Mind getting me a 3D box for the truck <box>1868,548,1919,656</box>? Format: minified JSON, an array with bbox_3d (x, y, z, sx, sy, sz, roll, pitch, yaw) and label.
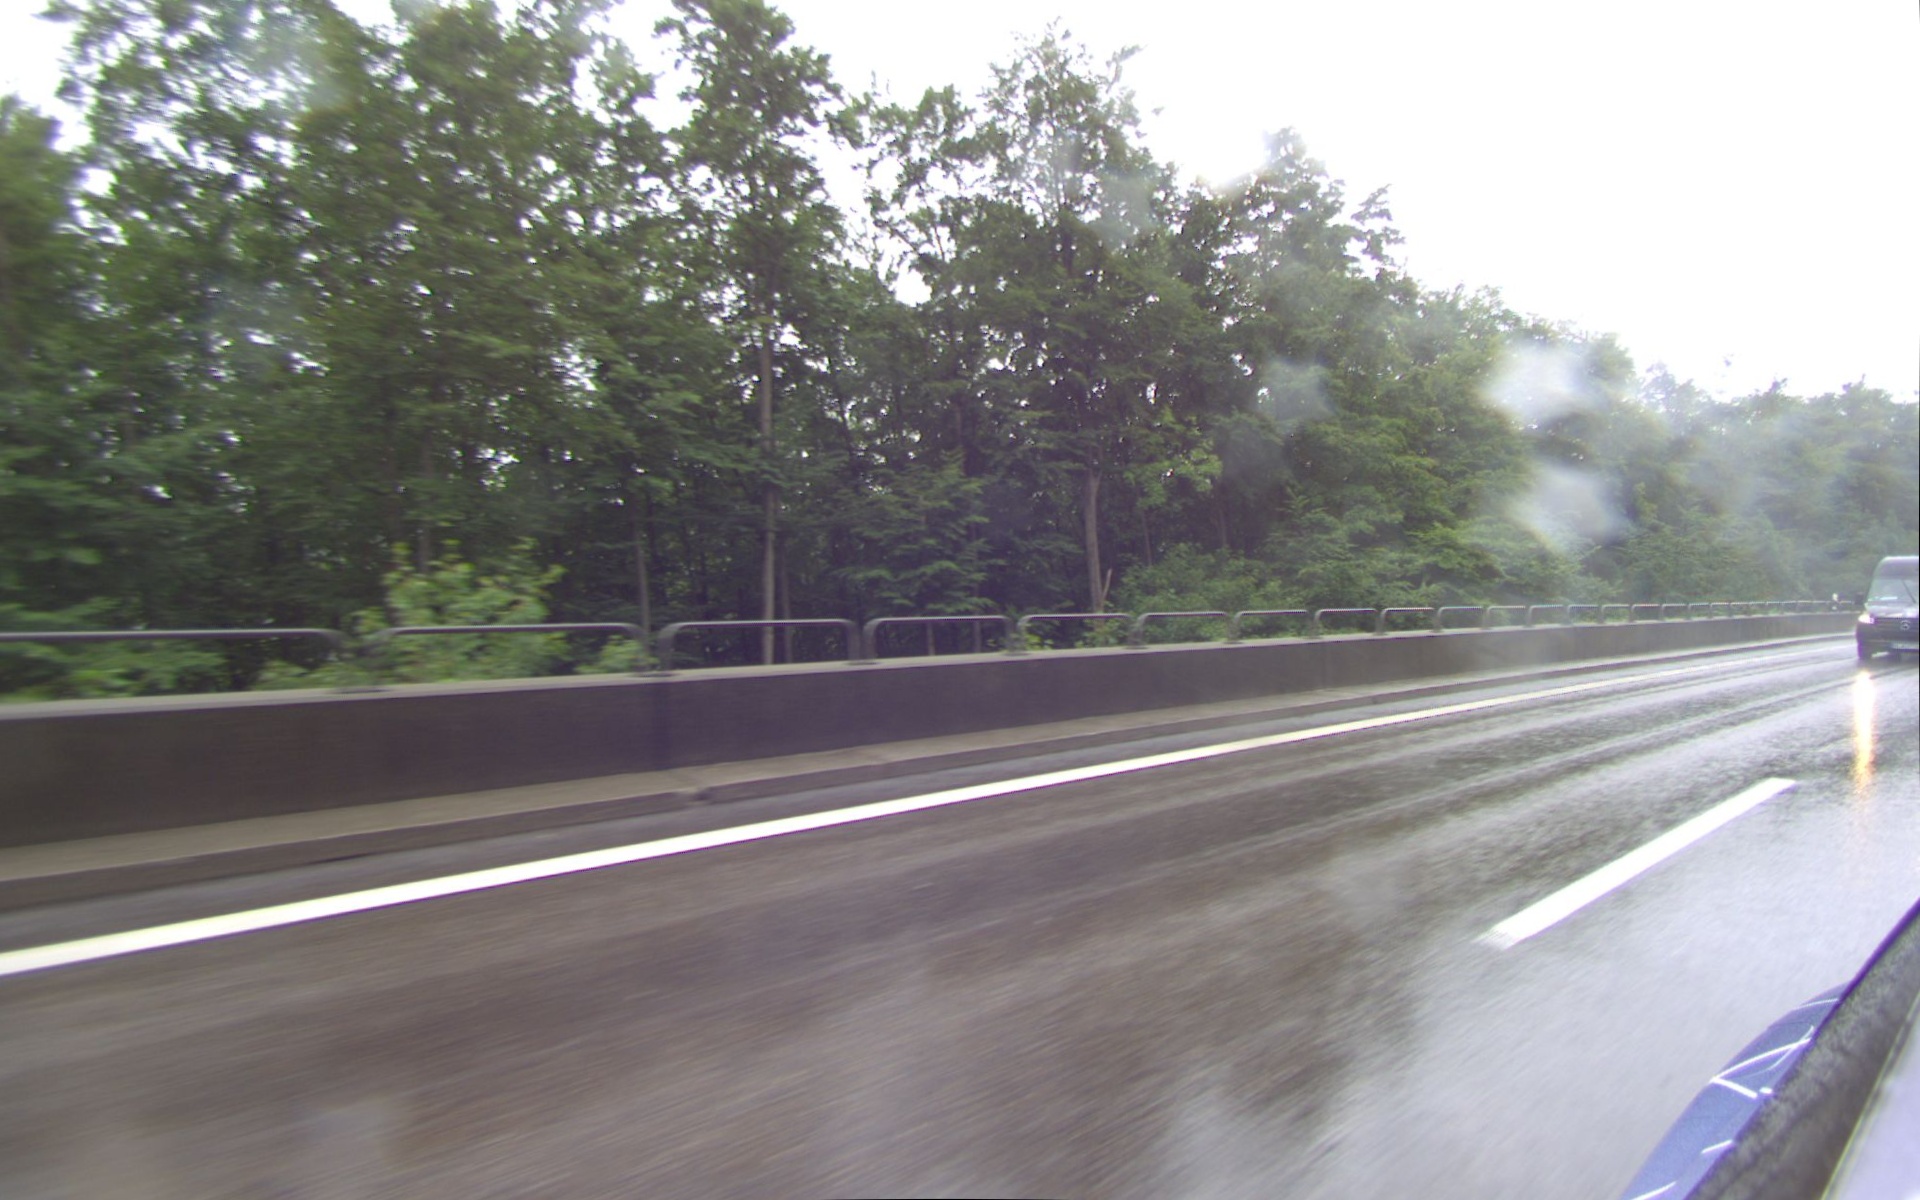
[{"bbox_3d":[25.516,0.036,26.108,7.861,2.527,2.107,0,1,-41],"label":"truck"}]
